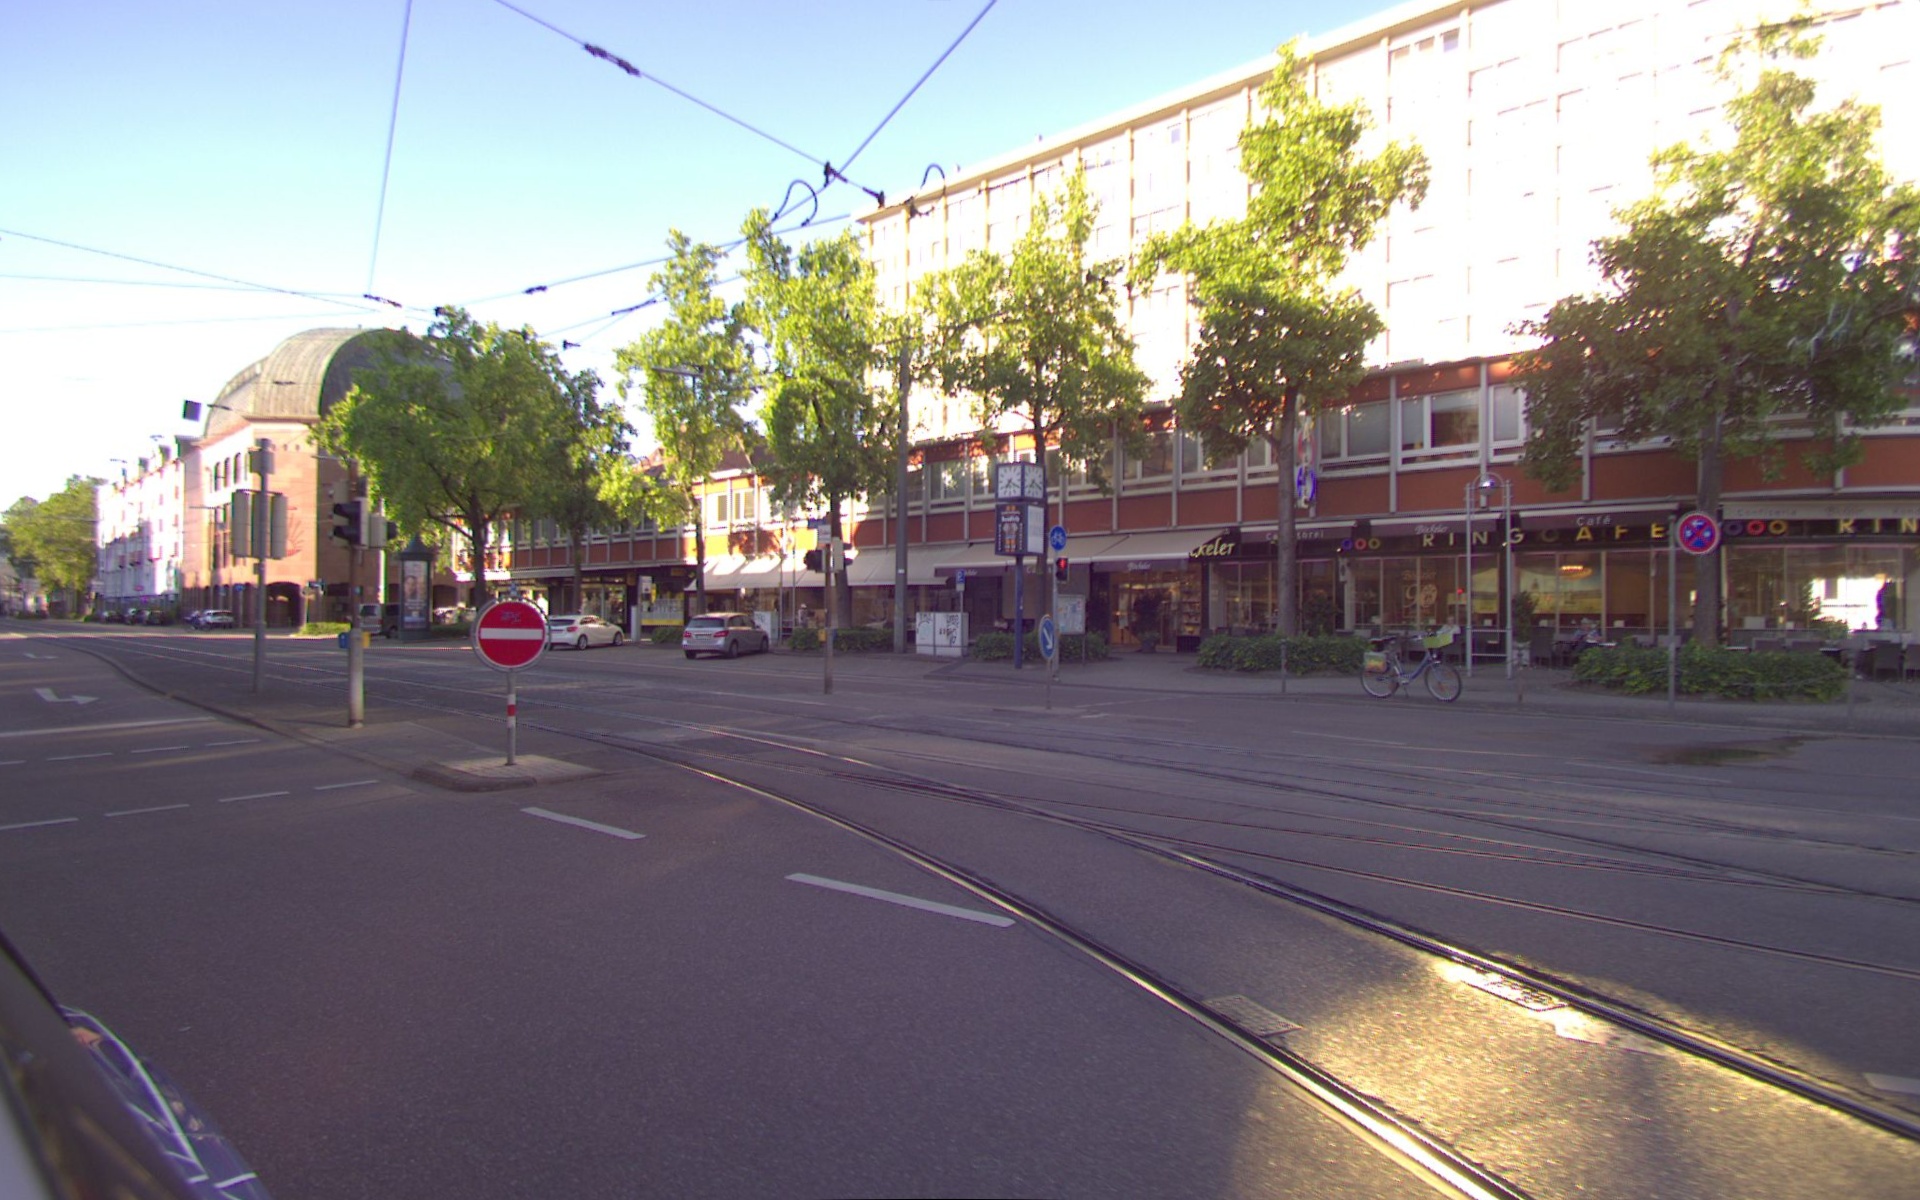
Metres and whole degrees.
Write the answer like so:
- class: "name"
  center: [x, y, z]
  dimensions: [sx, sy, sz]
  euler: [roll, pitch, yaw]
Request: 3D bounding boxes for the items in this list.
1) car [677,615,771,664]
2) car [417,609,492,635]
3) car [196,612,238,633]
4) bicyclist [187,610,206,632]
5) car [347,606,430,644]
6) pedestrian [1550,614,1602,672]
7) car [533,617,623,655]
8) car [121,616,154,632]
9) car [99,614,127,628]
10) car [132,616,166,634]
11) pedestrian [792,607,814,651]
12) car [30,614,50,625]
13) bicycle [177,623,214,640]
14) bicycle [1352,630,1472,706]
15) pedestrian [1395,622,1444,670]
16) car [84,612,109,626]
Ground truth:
- class: "car"
  center: [-8.284, 1.343, 35.901]
  dimensions: [1.779, 1.566, 3.985]
  euler: [0, 0, 12]
- class: "car"
  center: [-39.597, 1.715, 79.384]
  dimensions: [1.999, 2.029, 4.918]
  euler: [-1, -2, 41]
- class: "car"
  center: [-59.071, 1.761, 80.401]
  dimensions: [3.998, 1.615, 1.885]
  euler: [0, 0, 41]
- class: "bicyclist"
  center: [-51.882, 1.422, 68.802]
  dimensions: [0.753, 1.433, 0.673]
  euler: [0, -1, -2]
- class: "car"
  center: [-30.897, 1.312, 54.876]
  dimensions: [1.889, 1.979, 3.990]
  euler: [0, 0, 8]
- class: "pedestrian"
  center: [15.277, 1.053, 25.094]
  dimensions: [0.891, 1.407, 0.923]
  euler: [-1, -2, 45]
- class: "car"
  center: [-16.210, 1.488, 43.174]
  dimensions: [1.779, 1.486, 3.985]
  euler: [0, 0, 12]
- class: "car"
  center: [-83.621, 2.418, 102.873]
  dimensions: [3.998, 1.615, 1.939]
  euler: [0, 0, 41]
- class: "car"
  center: [-97.401, 2.412, 116.366]
  dimensions: [3.998, 1.615, 1.939]
  euler: [0, 0, 41]
- class: "car"
  center: [-79.128, 2.423, 98.732]
  dimensions: [3.998, 1.615, 1.939]
  euler: [0, 0, 41]
- class: "pedestrian"
  center: [-6.486, 1.180, 41.713]
  dimensions: [0.626, 1.782, 0.771]
  euler: [1, 0, -31]
- class: "car"
  center: [-143.891, 2.986, 158.277]
  dimensions: [3.998, 1.615, 1.939]
  euler: [0, 0, 41]
- class: "bicycle"
  center: [-51.950, 2.128, 68.783]
  dimensions: [2.009, 1.100, 0.673]
  euler: [0, -1, -2]
- class: "bicycle"
  center: [7.945, 1.164, 17.848]
  dimensions: [0.573, 1.244, 1.859]
  euler: [-1, 0, -41]
- class: "pedestrian"
  center: [12.540, 1.246, 27.652]
  dimensions: [0.826, 1.272, 0.910]
  euler: [1, -1, -31]
- class: "car"
  center: [-108.891, 2.403, 127.618]
  dimensions: [3.998, 1.615, 1.939]
  euler: [0, 0, 41]
